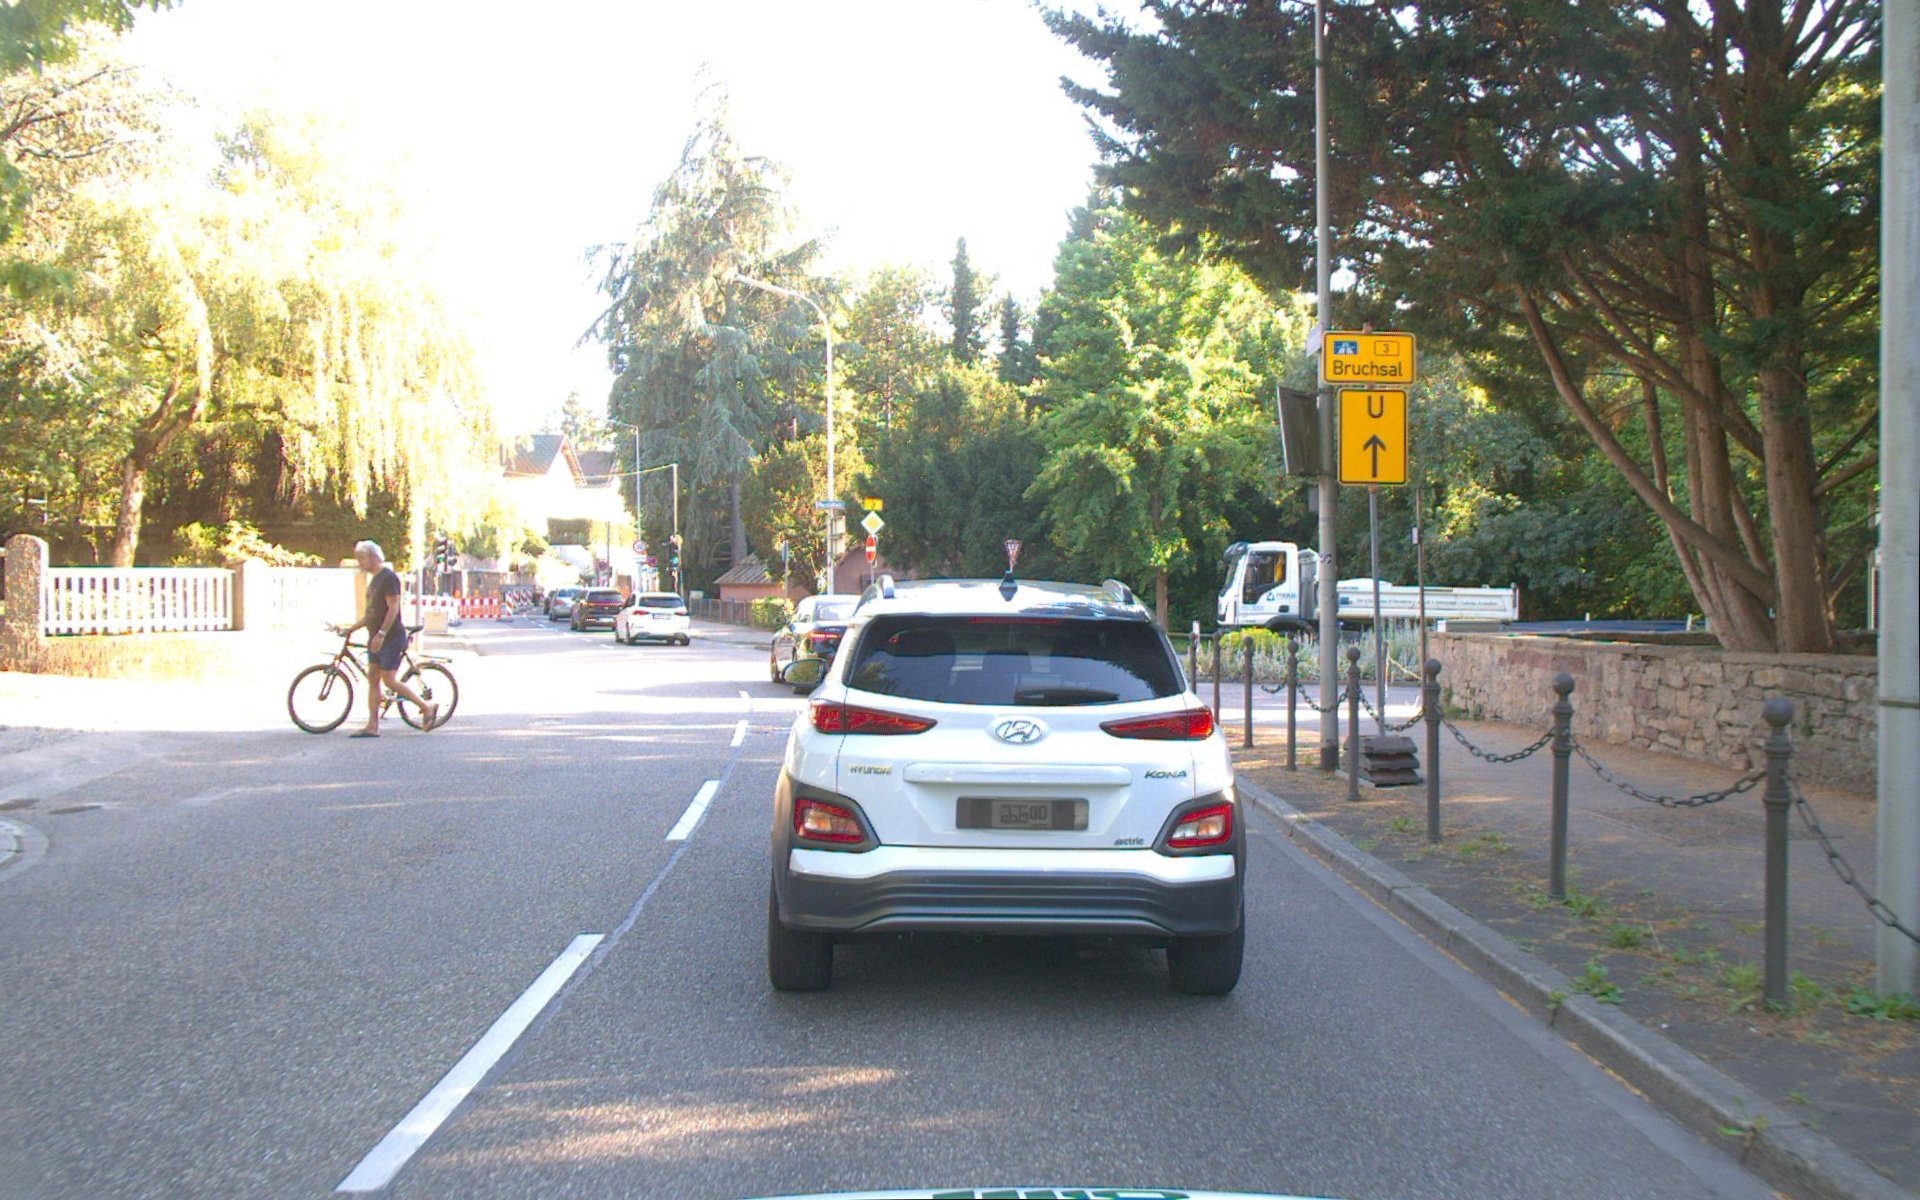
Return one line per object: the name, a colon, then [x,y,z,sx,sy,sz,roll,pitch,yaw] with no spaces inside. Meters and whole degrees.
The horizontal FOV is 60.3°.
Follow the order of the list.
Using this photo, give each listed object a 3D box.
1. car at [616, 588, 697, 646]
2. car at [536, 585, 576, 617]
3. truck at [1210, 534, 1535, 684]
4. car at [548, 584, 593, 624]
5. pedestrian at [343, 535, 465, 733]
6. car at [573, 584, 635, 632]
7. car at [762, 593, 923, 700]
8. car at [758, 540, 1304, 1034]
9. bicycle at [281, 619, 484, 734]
car: [-8.923,0.457,48.350,1.778,1.564,3.979,2,0,-18]
car: [-22.096,0.031,90.349,1.803,1.691,3.980,2,0,-17]
truck: [8.818,0.185,35.925,6.449,2.945,2.434,2,0,4]
car: [-18.111,0.175,76.734,1.802,1.771,3.982,2,0,-16]
pedestrian: [-5.386,0.321,16.034,0.934,1.858,0.547,2,0,-39]
car: [-13.319,0.280,61.728,1.804,1.691,3.979,2,0,-19]
car: [-1.910,0.654,25.616,1.679,1.459,4.348,2,0,-15]
car: [0.211,0.625,7.533,1.783,1.601,3.999,2,0,-1]
bicycle: [-5.713,0.746,16.418,1.799,1.061,0.554,2,1,-38]
